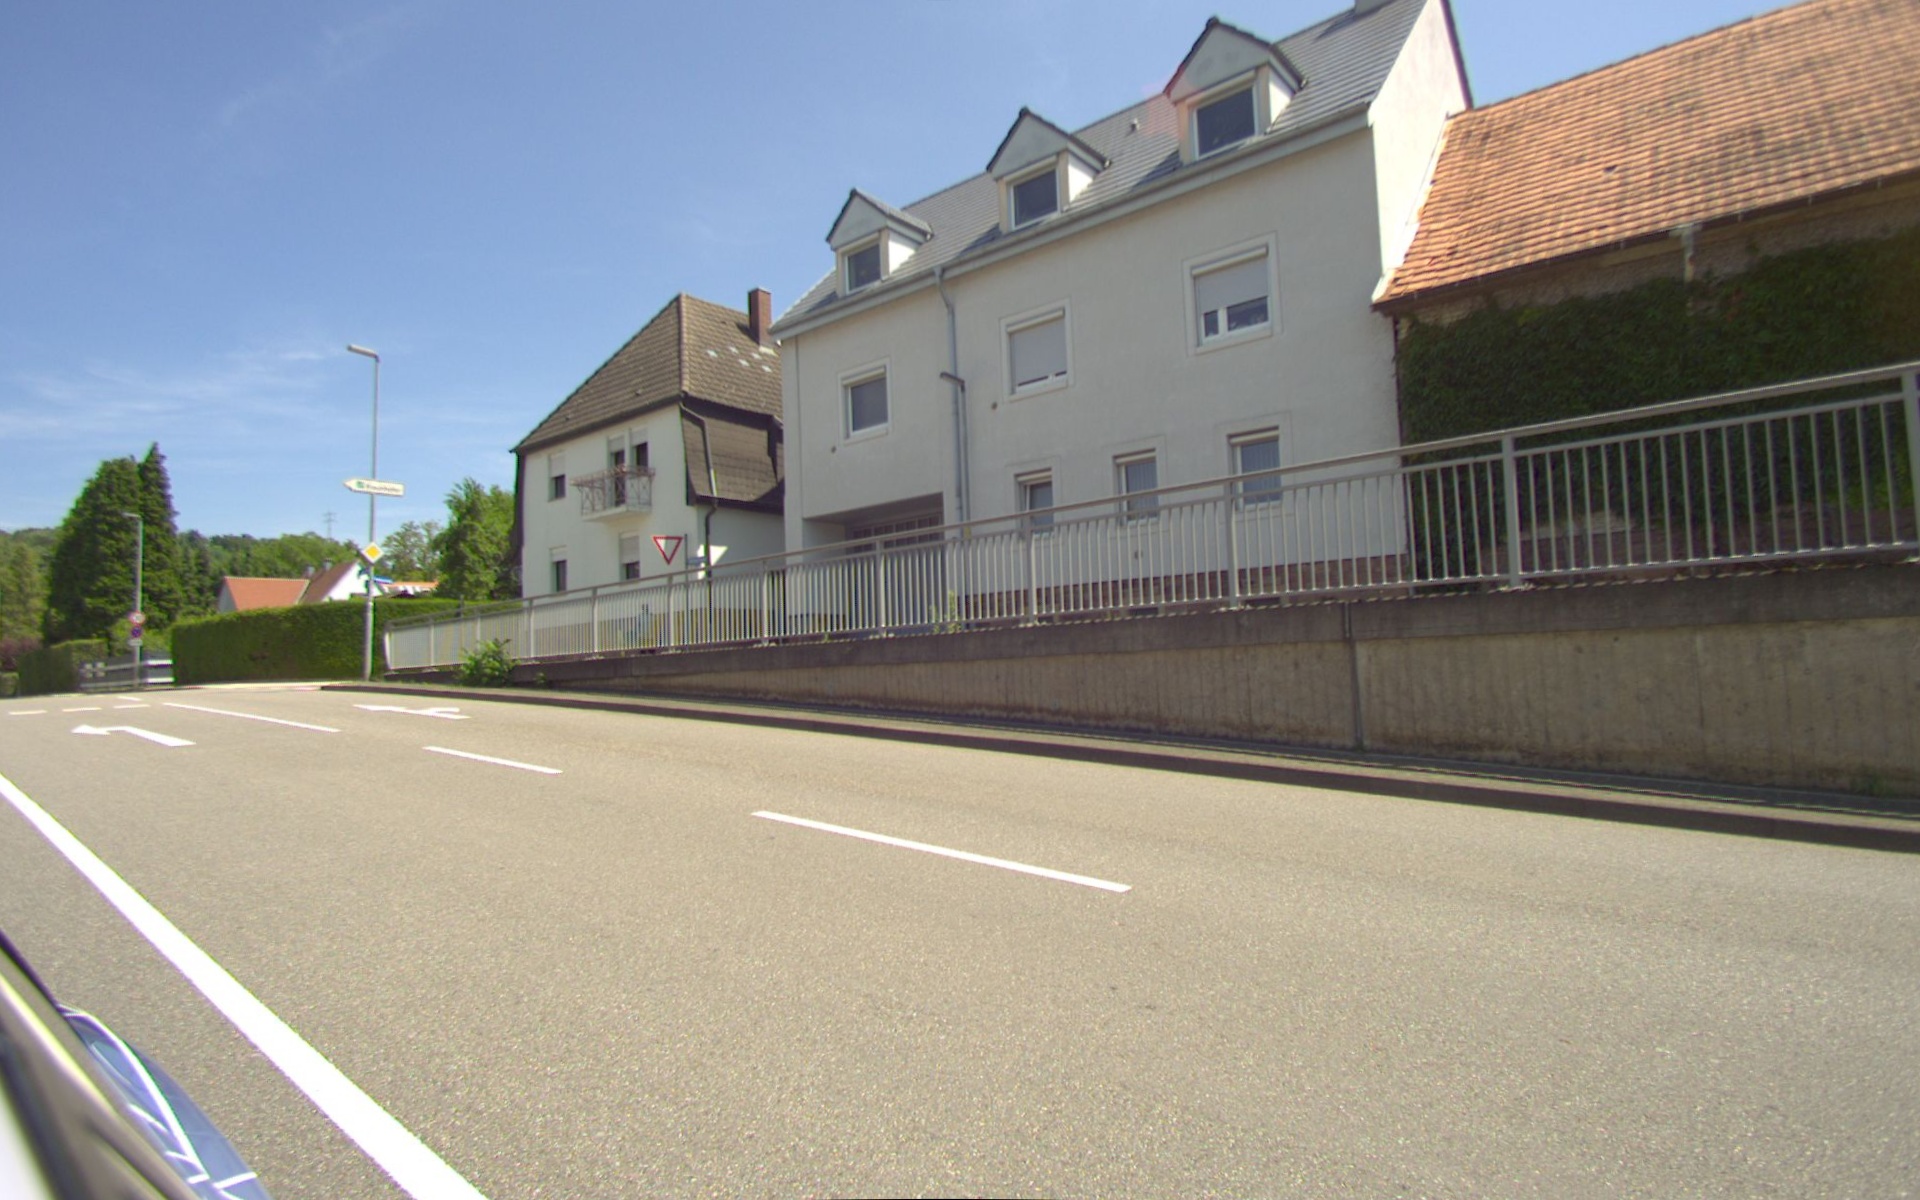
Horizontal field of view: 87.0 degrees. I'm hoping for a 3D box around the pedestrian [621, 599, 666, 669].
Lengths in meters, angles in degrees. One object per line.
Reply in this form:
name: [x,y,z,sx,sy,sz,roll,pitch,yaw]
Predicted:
pedestrian: [-8.114,0.863,25.948,0.855,1.742,0.720,-2,-2,38]
